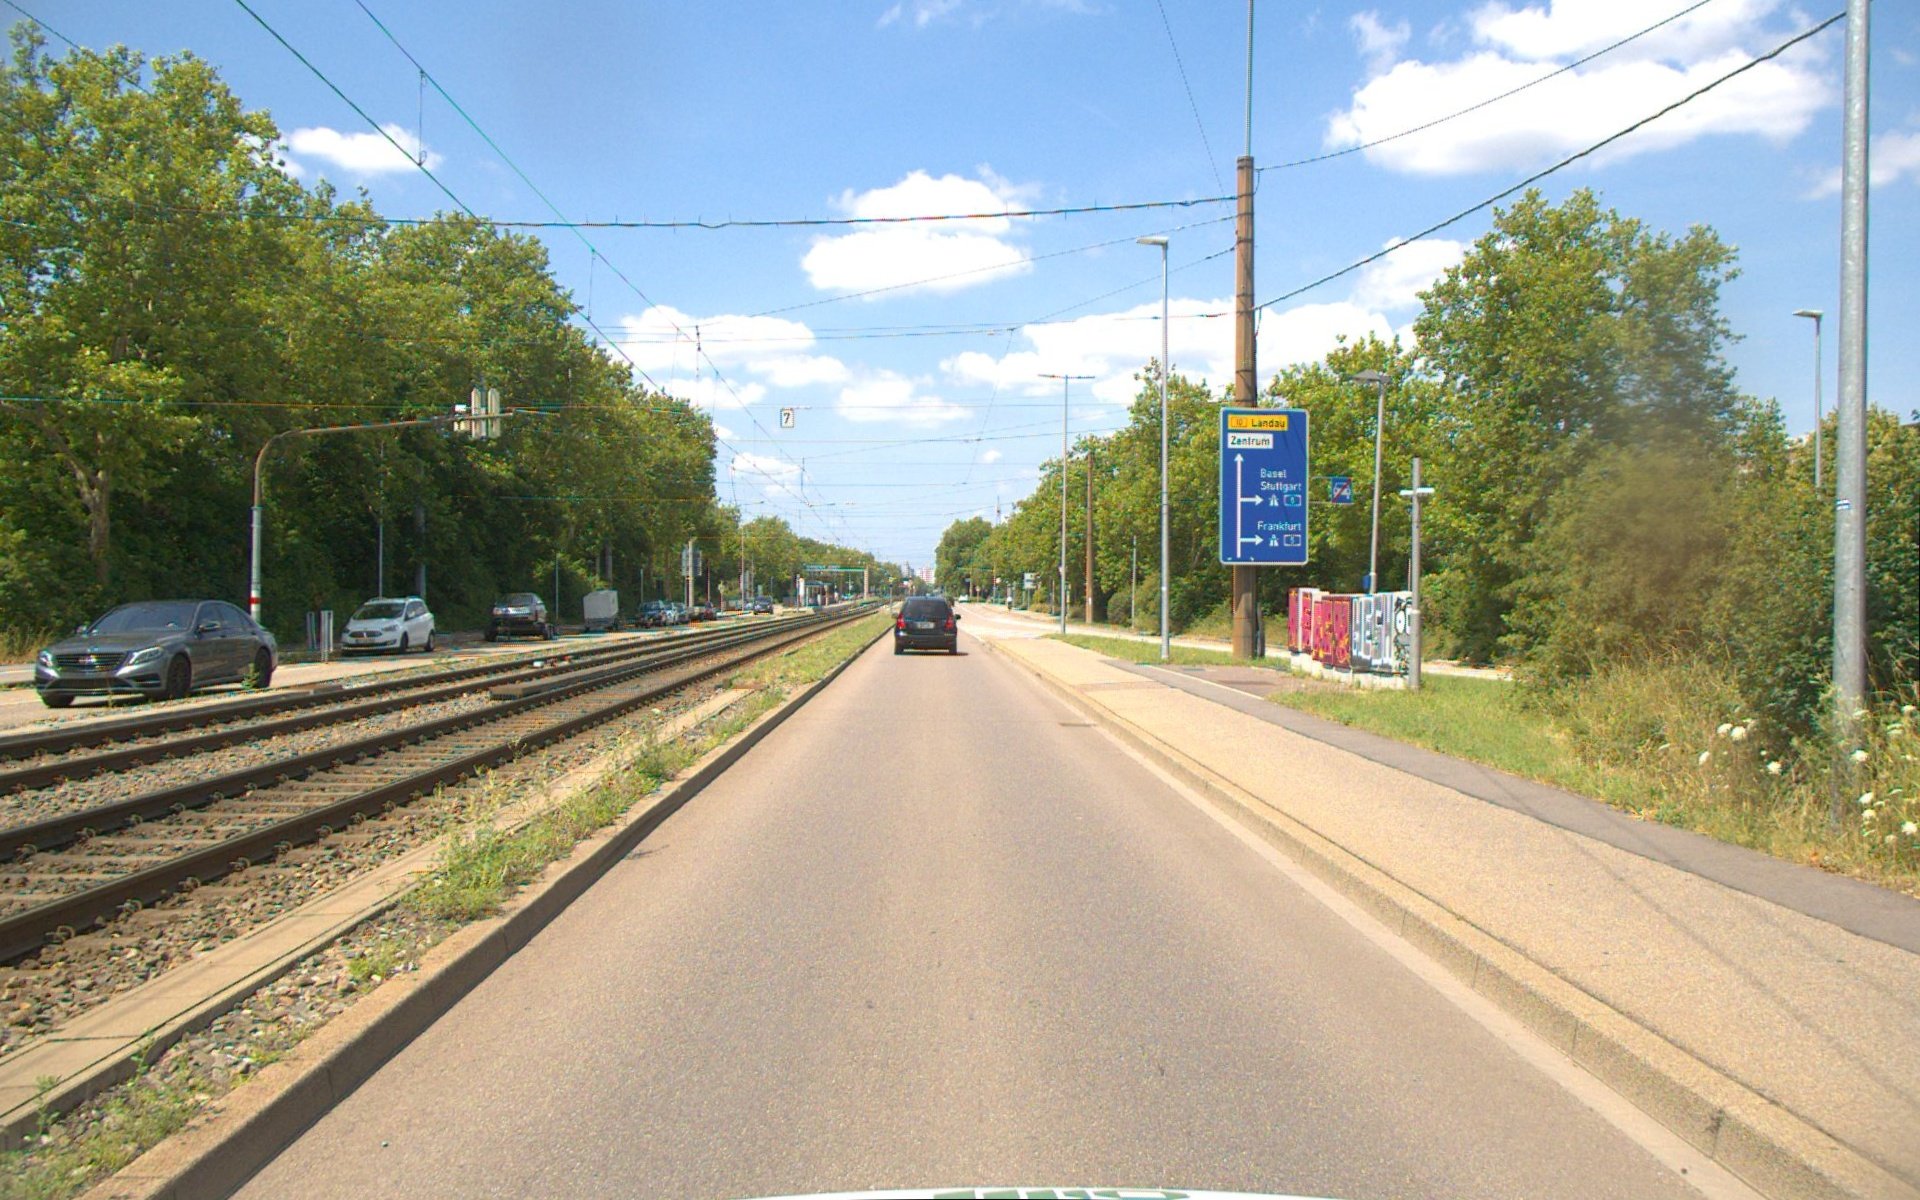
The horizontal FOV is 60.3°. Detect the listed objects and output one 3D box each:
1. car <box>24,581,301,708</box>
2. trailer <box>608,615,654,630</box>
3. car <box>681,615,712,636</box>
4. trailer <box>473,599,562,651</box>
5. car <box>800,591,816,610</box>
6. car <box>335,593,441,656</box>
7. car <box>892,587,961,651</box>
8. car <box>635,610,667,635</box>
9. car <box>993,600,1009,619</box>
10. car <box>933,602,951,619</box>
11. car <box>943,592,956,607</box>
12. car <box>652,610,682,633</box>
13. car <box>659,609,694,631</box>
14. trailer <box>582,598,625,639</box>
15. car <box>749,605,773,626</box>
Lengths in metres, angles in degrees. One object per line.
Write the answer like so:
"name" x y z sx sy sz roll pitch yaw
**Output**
"car" -12.192 0.641 25.756 1.837 1.750 5.328 1 -1 -2
"trailer" -18.594 1.282 93.636 1.953 0.755 3.998 0 -1 -2
"car" -20.824 1.979 130.731 1.953 1.601 3.998 1 0 -2
"trailer" -17.418 0.946 65.388 2.414 1.922 5.954 1 0 -6
"car" -17.441 0.047 189.944 1.554 2.048 4.108 1 1 -3
"car" -17.111 0.698 49.723 1.685 1.659 4.614 -3 1 -2
"car" -0.908 0.494 46.575 1.815 1.597 4.388 1 2 -1
"car" -18.956 1.386 101.434 1.405 1.477 3.919 1 0 -3
"car" 4.748 1.111 190.507 1.580 2.048 3.438 1 1 -2
"car" -1.996 1.109 181.082 1.846 1.668 4.000 4 1 0
"car" -1.546 -0.101 242.188 1.750 2.048 3.999 1 1 -1
"car" -18.976 1.394 107.145 1.405 1.477 3.738 1 0 -3
"car" -19.333 1.376 112.761 1.833 1.425 4.415 1 0 -3
"trailer" -18.468 0.926 85.810 1.578 2.049 3.912 2 0 -4
"car" -20.371 1.588 169.363 1.953 2.049 3.999 -1 0 -1
